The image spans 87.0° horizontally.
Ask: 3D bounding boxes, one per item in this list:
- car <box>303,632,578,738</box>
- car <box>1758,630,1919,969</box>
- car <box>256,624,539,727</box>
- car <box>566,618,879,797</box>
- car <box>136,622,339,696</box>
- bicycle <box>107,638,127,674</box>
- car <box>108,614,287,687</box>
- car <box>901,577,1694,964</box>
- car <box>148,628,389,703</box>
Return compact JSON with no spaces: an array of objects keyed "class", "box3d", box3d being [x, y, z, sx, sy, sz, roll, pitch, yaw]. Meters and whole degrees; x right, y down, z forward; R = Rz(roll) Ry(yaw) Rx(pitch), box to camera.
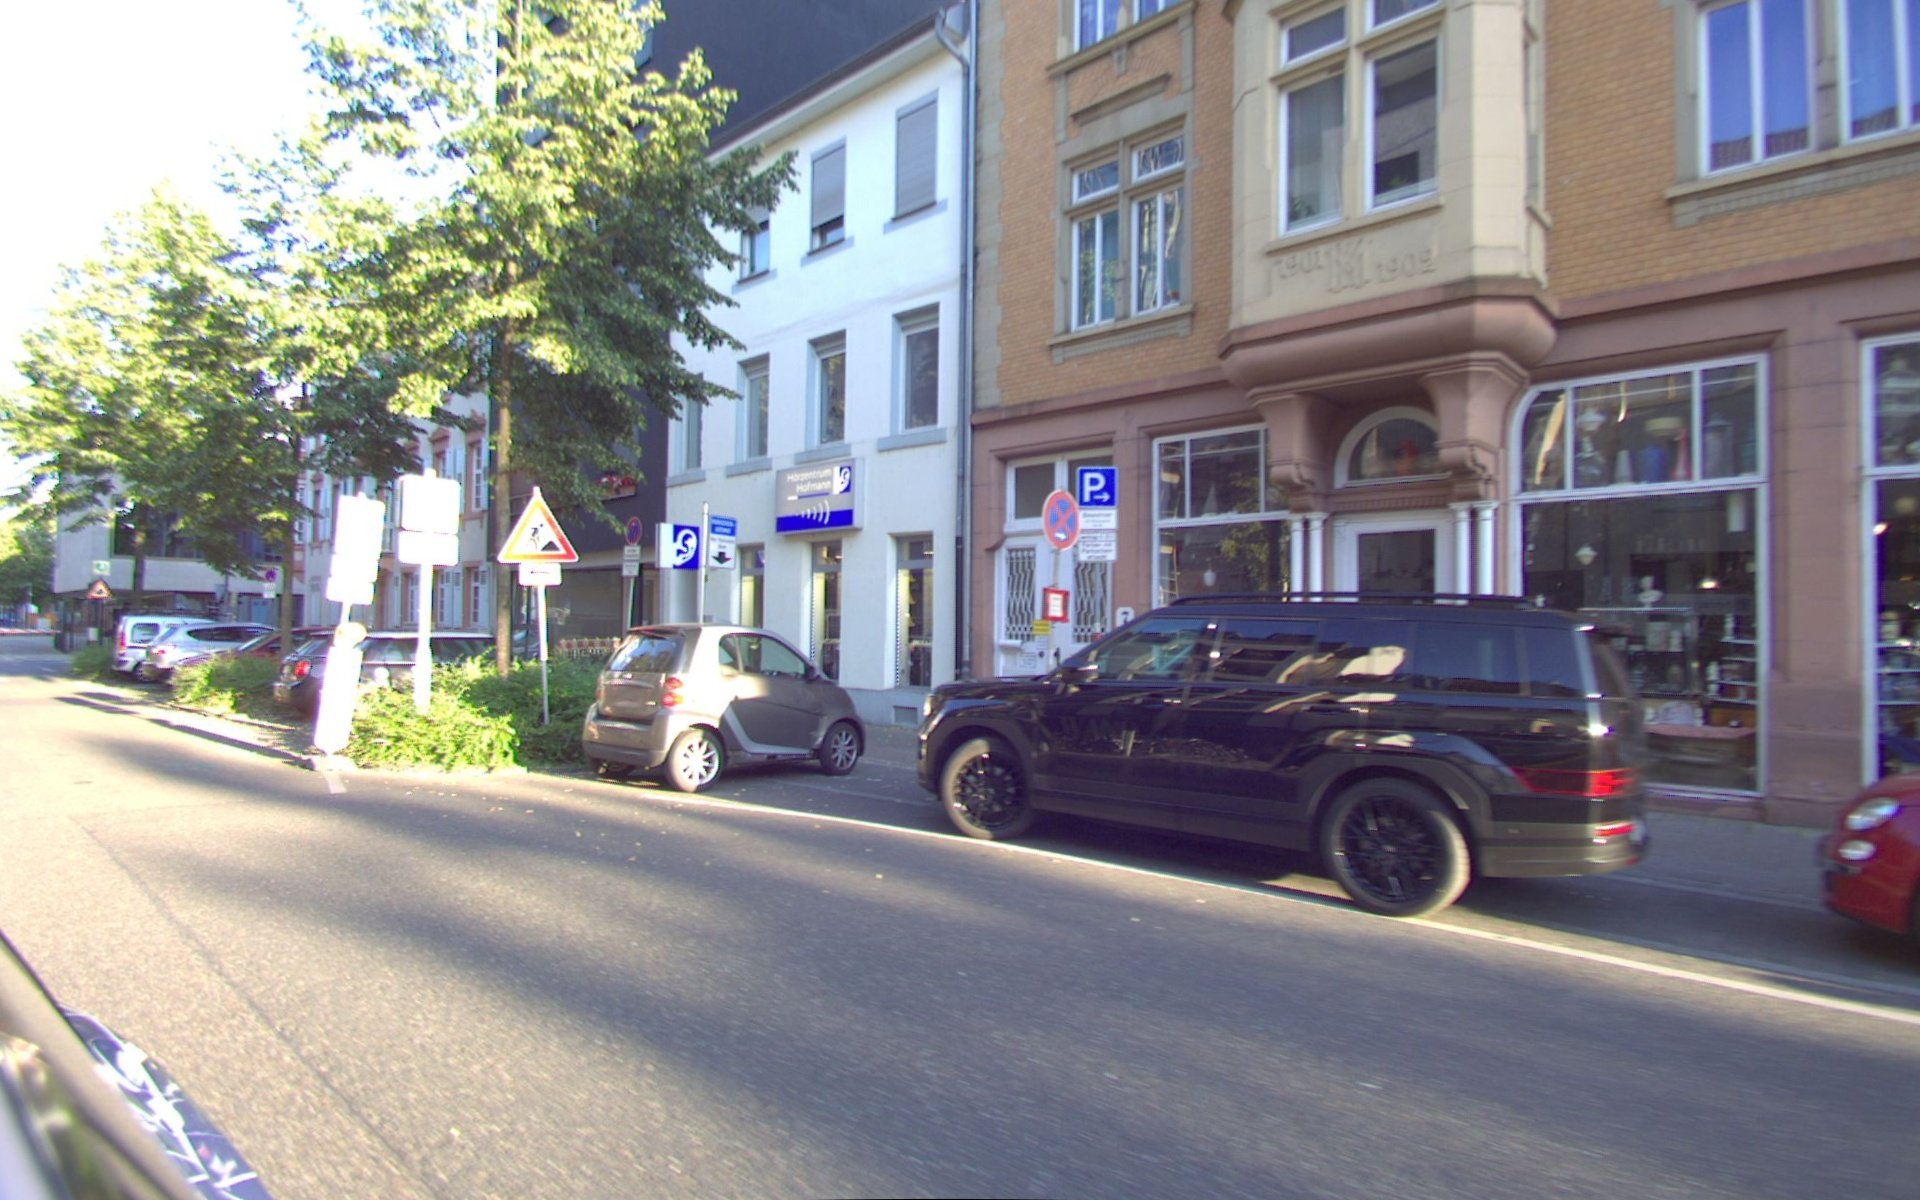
[{"class":"car","box3d":[-7.794,1.196,15.341,3.357,1.402,1.688,1,-2,-44]},{"class":"car","box3d":[5.808,0.940,4.422,3.485,1.526,1.754,-1,-4,44]},{"class":"car","box3d":[-9.472,1.183,17.227,1.857,1.529,3.849,-2,-2,44]},{"class":"car","box3d":[-2.317,1.028,10.246,1.570,1.532,2.666,-3,-5,40]},{"class":"car","box3d":[-17.379,1.353,24.428,3.780,1.597,1.743,1,-1,-44]},{"class":"bicycle","box3d":[-27.401,1.808,32.891,0.390,1.116,1.714,0,-1,-44]},{"class":"car","box3d":[-21.010,1.365,27.974,3.765,1.864,1.702,2,-3,-43]},{"class":"car","box3d":[1.989,0.834,6.811,4.697,1.741,1.885,-1,-3,39]},{"class":"car","box3d":[-15.476,1.412,22.836,1.761,1.528,4.164,-1,-3,40]}]
